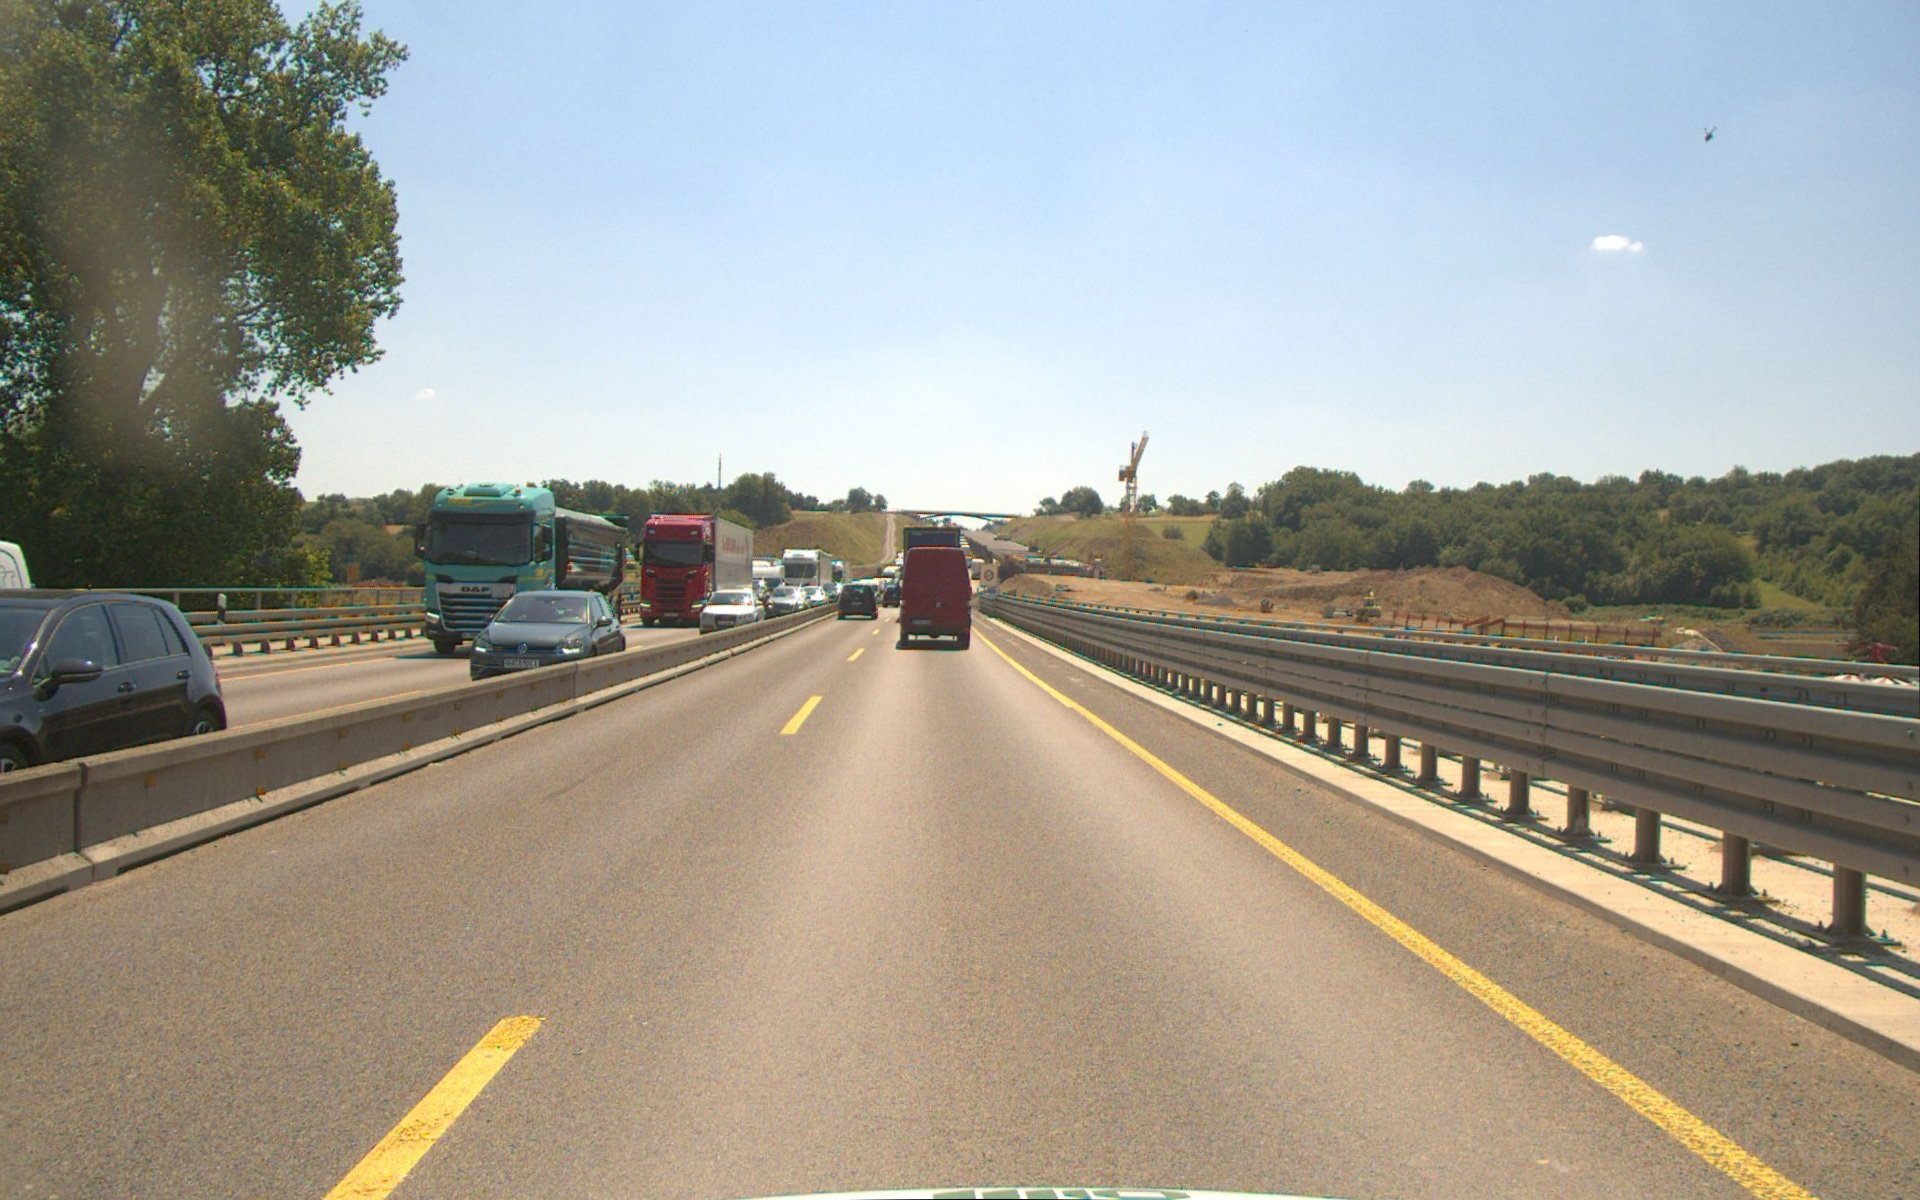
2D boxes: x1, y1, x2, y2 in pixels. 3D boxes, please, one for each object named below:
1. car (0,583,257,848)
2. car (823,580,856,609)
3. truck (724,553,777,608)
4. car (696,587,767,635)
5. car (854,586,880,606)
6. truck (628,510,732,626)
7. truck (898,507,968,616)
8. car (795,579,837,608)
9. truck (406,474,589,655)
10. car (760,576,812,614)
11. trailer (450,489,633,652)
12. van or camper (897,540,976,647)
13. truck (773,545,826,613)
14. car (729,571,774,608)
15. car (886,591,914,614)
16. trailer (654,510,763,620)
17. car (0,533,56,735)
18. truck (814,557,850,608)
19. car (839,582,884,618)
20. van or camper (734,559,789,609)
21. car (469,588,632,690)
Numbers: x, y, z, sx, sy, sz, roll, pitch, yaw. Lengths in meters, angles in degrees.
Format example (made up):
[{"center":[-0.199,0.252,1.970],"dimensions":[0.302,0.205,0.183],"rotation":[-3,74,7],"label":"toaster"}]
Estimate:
[{"center":[-5.994,0.618,10.149],"dimensions":[1.645,1.416,4.155],"rotation":[-1,1,-1],"label":"car"},{"center":[-7.619,-0.323,104.959],"dimensions":[1.810,1.717,4.617],"rotation":[3,0,-2],"label":"car"},{"center":[-15.427,-1.451,122.158],"dimensions":[2.845,3.830,8.366],"rotation":[2,1,-1],"label":"truck"},{"center":[-7.095,0.297,51.647],"dimensions":[1.745,1.404,4.709],"rotation":[-1,1,-3],"label":"car"},{"center":[-7.432,-0.332,132.734],"dimensions":[1.827,1.484,4.607],"rotation":[2,1,0],"label":"car"},{"center":[-10.537,-1.210,62.911],"dimensions":[2.758,4.107,6.523],"rotation":[1,1,0],"label":"truck"},{"center":[-1.300,-1.720,76.244],"dimensions":[2.960,4.775,6.929],"rotation":[-1,0,-3],"label":"truck"},{"center":[-7.913,-0.333,91.285],"dimensions":[1.862,1.487,4.193],"rotation":[3,0,0],"label":"car"},{"center":[-10.413,-0.769,37.757],"dimensions":[2.740,3.787,5.372],"rotation":[-1,0,-2],"label":"truck"},{"center":[-7.711,-0.223,73.735],"dimensions":[1.852,1.513,4.918],"rotation":[3,0,-2],"label":"car"},{"center":[-10.622,-0.712,42.993],"dimensions":[2.738,3.736,8.953],"rotation":[-1,0,-2],"label":"trailer"},{"center":[-0.702,-0.182,45.940],"dimensions":[1.988,2.792,4.513],"rotation":[1,0,-3],"label":"van or camper"},{"center":[-11.368,-1.486,117.722],"dimensions":[3.015,4.616,7.102],"rotation":[1,0,0],"label":"truck"},{"center":[-10.755,-0.551,85.668],"dimensions":[1.732,1.764,4.790],"rotation":[3,1,-1],"label":"car"},{"center":[-4.384,0.178,121.855],"dimensions":[1.971,1.572,4.131],"rotation":[2,1,-2],"label":"car"},{"center":[-10.517,-1.470,70.479],"dimensions":[2.749,4.249,11.799],"rotation":[1,1,0],"label":"trailer"},{"center":[-9.886,0.332,14.243],"dimensions":[1.822,1.900,4.627],"rotation":[0,0,-3],"label":"car"},{"center":[-11.498,-1.586,149.268],"dimensions":[2.749,4.469,6.224],"rotation":[1,0,0],"label":"truck"},{"center":[-4.542,-0.005,76.658],"dimensions":[1.971,1.572,4.130],"rotation":[1,0,-2],"label":"car"},{"center":[-11.181,-0.893,93.581],"dimensions":[2.452,2.745,5.243],"rotation":[1,0,0],"label":"van or camper"},{"center":[-6.262,0.543,25.693],"dimensions":[1.598,1.433,4.102],"rotation":[-1,1,-2],"label":"car"}]
